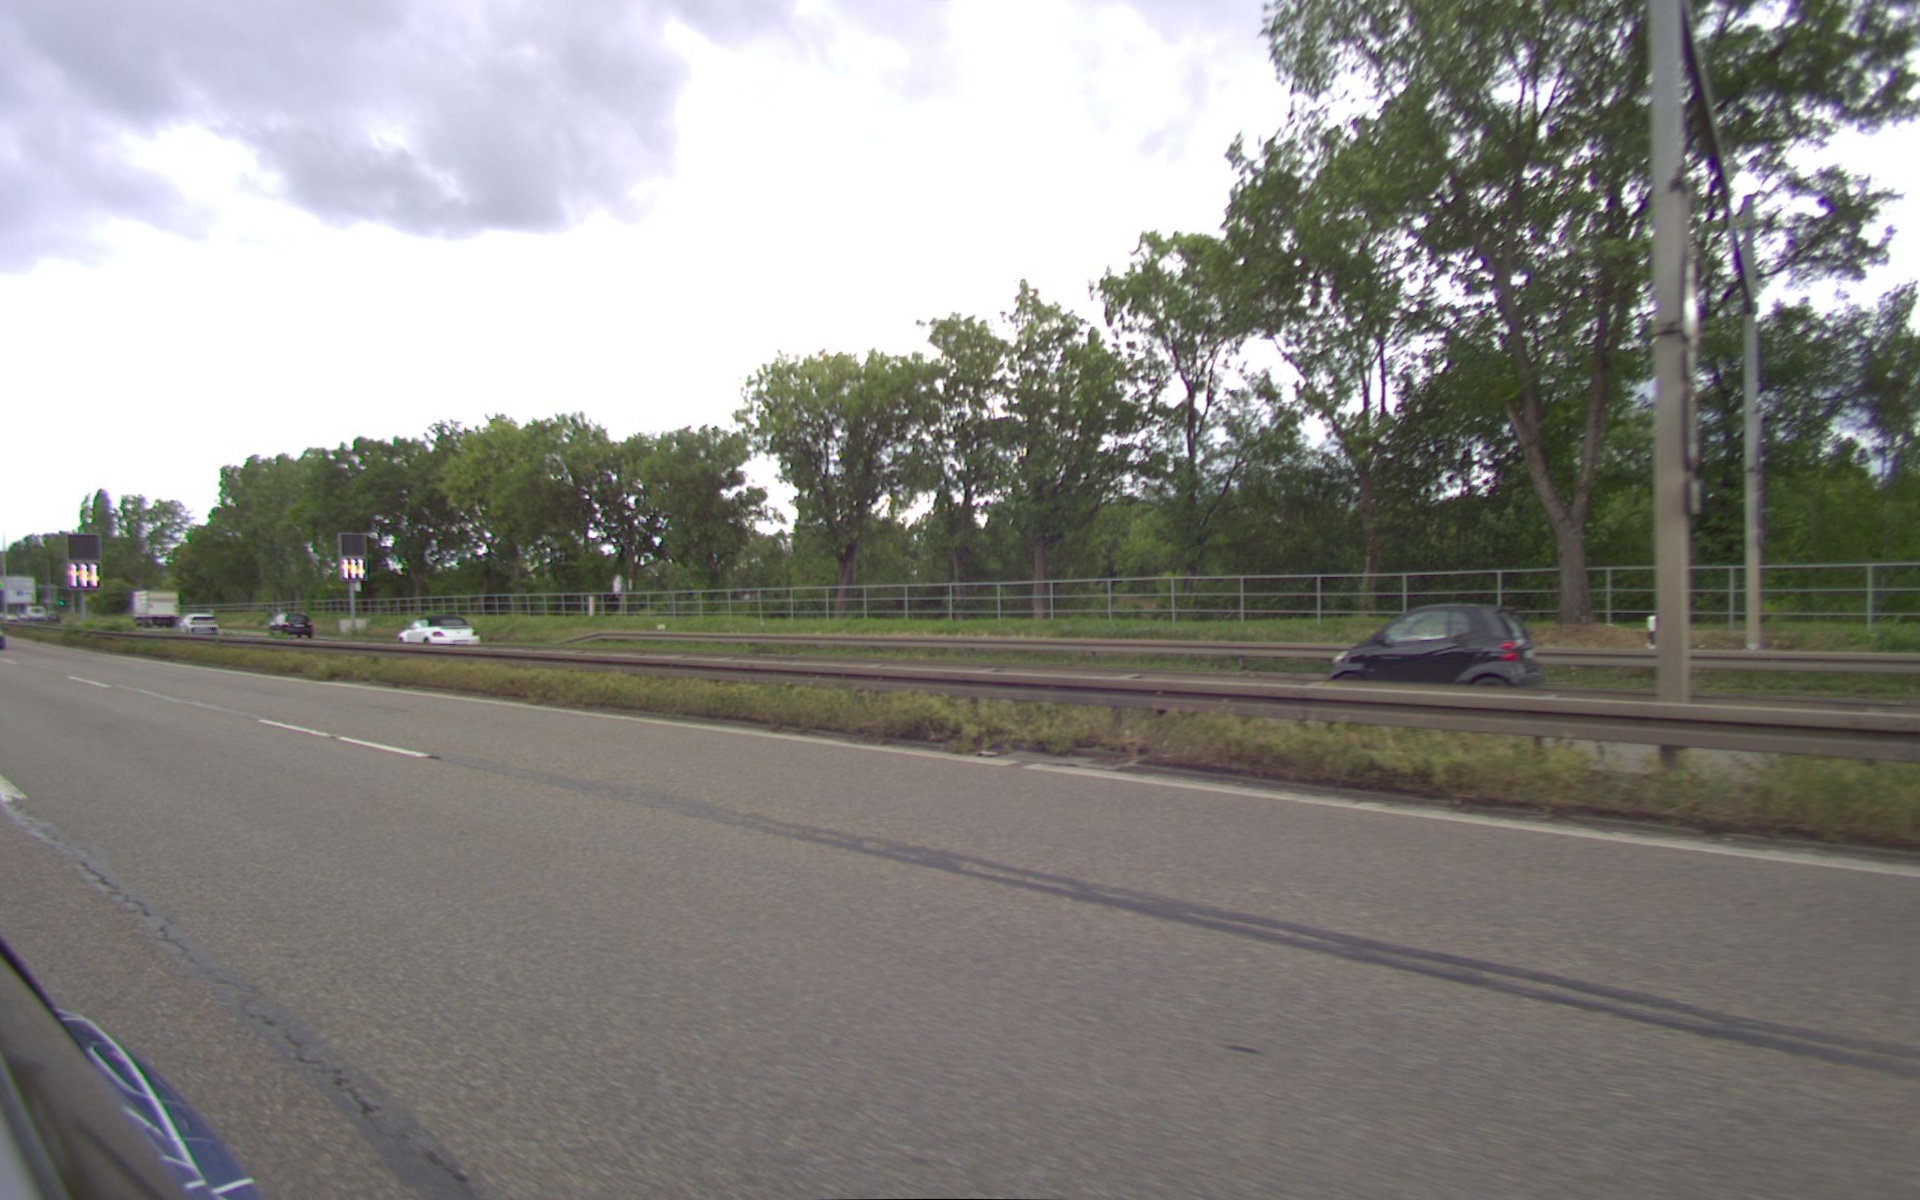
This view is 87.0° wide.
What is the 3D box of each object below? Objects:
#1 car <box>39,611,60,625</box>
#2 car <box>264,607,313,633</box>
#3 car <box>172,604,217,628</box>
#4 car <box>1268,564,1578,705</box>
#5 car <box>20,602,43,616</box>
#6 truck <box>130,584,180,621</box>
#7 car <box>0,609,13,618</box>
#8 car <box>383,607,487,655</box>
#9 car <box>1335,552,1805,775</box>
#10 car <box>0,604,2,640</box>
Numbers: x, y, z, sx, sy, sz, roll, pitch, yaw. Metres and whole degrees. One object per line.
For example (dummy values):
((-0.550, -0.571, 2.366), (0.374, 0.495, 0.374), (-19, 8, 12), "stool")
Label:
((-121.940, 2.411, 135.508), (4.148, 1.737, 1.858), (-2, 1, 45), "car")
((-43.242, 1.295, 65.137), (4.041, 1.617, 1.708), (-1, -2, 42), "car")
((-53.296, 1.157, 70.446), (4.537, 1.617, 1.679), (-1, -2, 42), "car")
((6.622, 0.451, 14.680), (3.740, 1.788, 1.708), (-1, 0, 42), "car")
((-138.367, 1.365, 150.733), (5.476, 1.962, 2.201), (-1, 0, 44), "car")
((-82.906, 0.249, 104.178), (9.590, 3.606, 2.857), (-1, 0, 44), "truck")
((-159.936, 2.200, 169.485), (3.988, 1.409, 1.641), (-2, -2, 43), "car")
((-19.746, 1.146, 37.971), (4.716, 1.687, 1.847), (-1, -1, 41), "car")
((5.910, 0.524, 10.046), (3.740, 1.788, 1.708), (-1, 0, 42), "car")
((-47.466, 1.112, 48.498), (4.144, 1.737, 1.859), (-2, 1, 41), "car")
